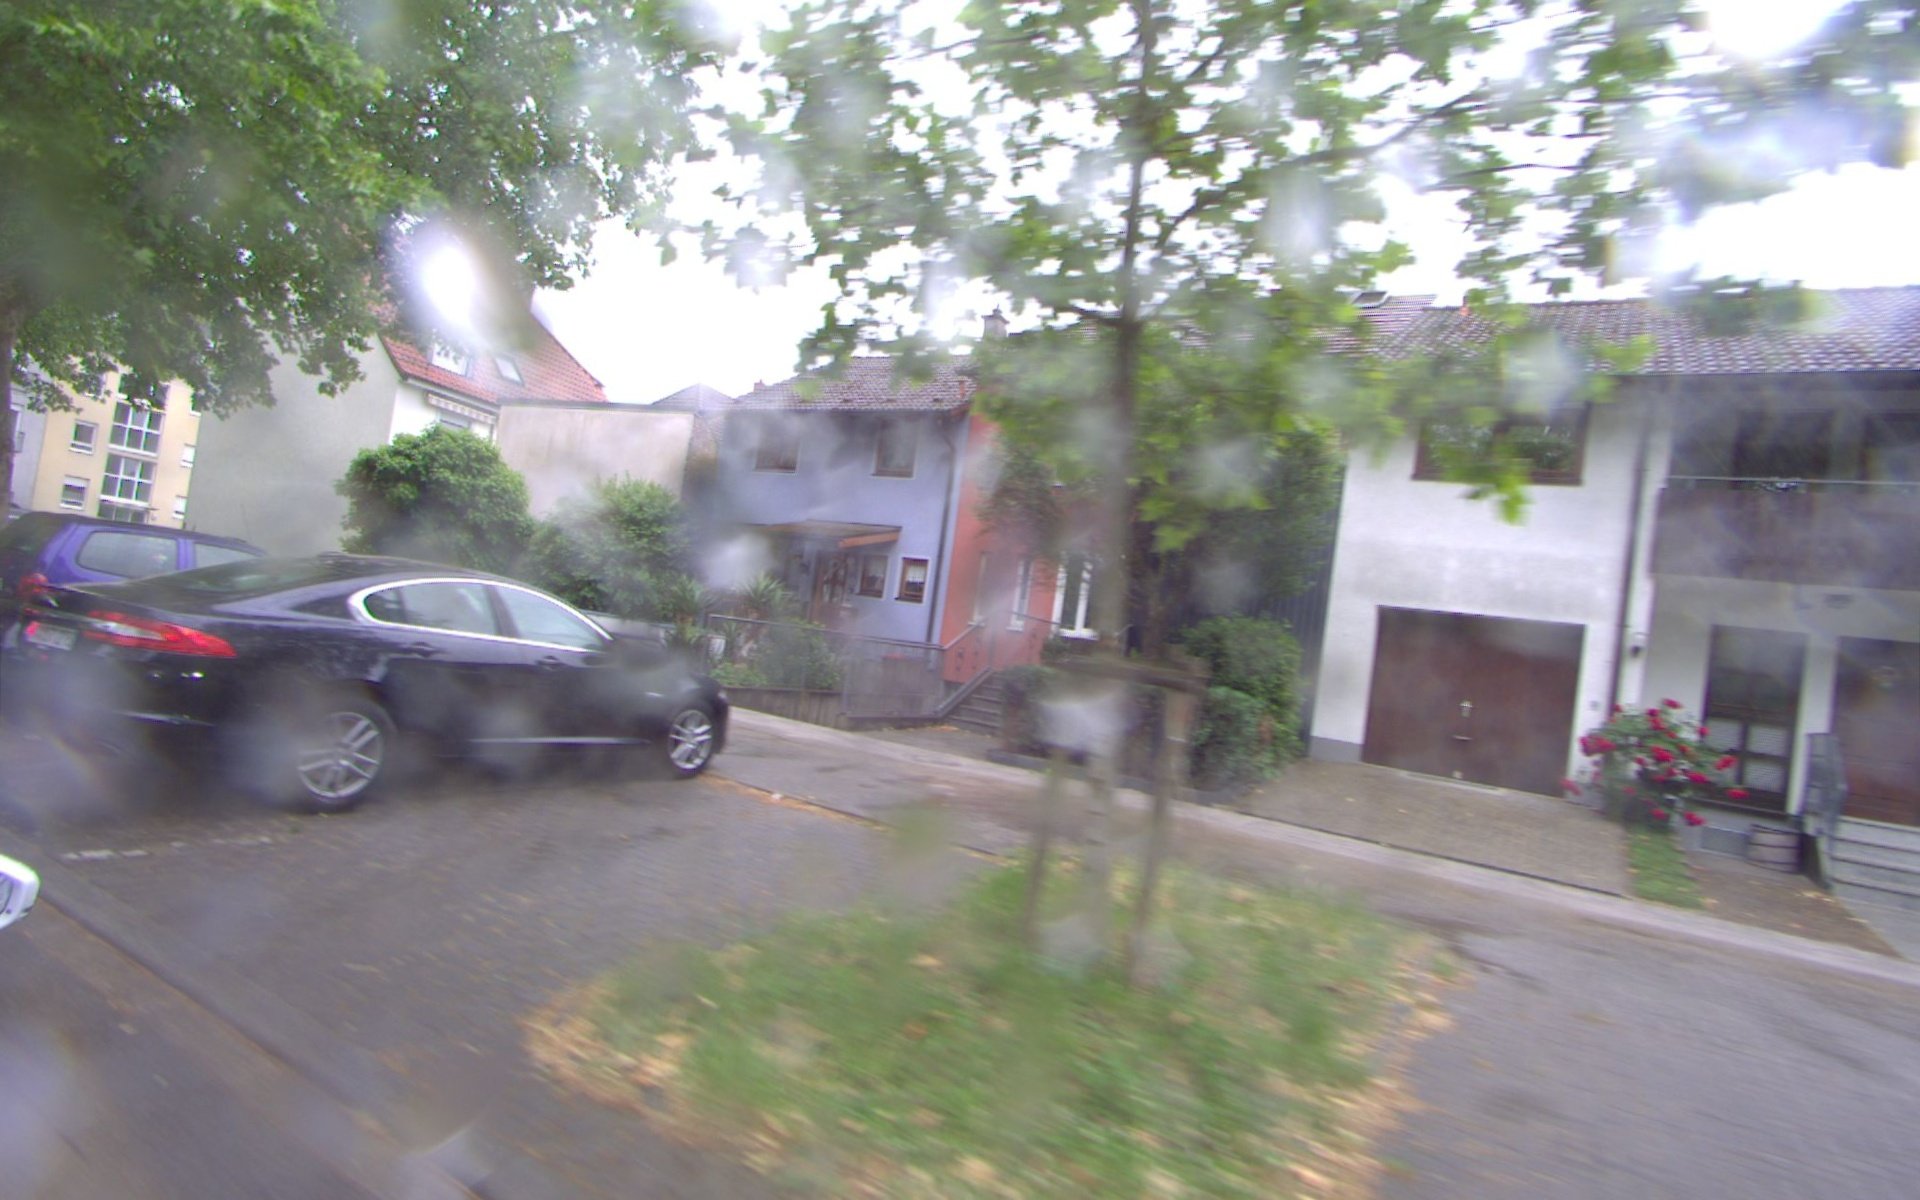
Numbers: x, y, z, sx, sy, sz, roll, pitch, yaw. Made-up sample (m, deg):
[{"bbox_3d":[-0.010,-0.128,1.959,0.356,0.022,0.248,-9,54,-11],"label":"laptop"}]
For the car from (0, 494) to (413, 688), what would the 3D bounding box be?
[{"bbox_3d":[-7.709,-0.016,10.168,1.591,1.480,3.364,7,-2,30],"label":"car"}]

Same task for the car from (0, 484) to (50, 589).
[{"bbox_3d":[-18.975,-1.437,16.686,1.812,1.827,5.356,7,-2,25],"label":"car"}]

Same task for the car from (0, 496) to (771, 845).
[{"bbox_3d":[-3.628,0.471,7.073,1.903,1.490,4.781,7,-2,26],"label":"car"}]
